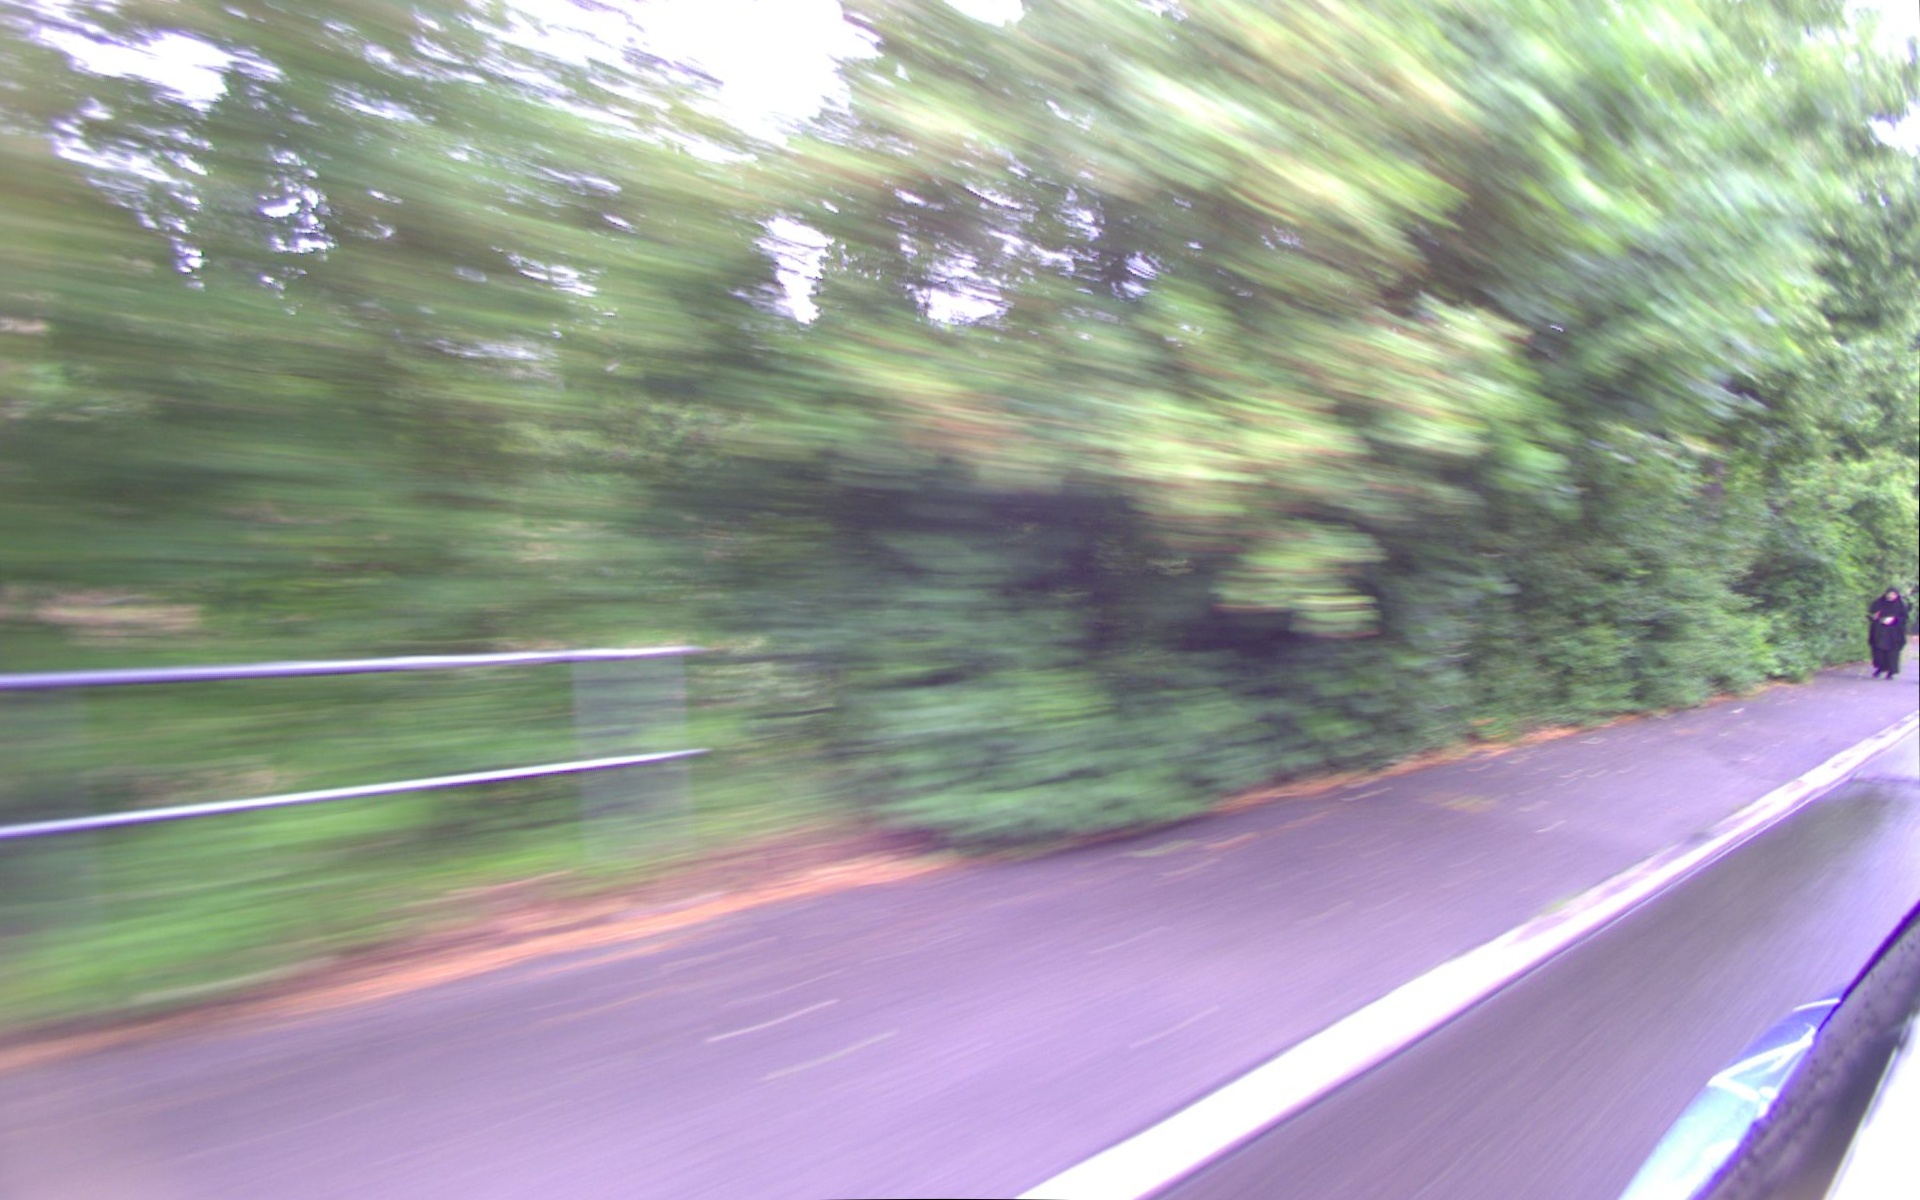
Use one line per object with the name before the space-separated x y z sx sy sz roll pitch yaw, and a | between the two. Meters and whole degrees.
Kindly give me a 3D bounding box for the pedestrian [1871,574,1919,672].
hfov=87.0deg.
pedestrian | 15.958 0.368 17.188 0.658 1.585 0.596 -3 6 -43
